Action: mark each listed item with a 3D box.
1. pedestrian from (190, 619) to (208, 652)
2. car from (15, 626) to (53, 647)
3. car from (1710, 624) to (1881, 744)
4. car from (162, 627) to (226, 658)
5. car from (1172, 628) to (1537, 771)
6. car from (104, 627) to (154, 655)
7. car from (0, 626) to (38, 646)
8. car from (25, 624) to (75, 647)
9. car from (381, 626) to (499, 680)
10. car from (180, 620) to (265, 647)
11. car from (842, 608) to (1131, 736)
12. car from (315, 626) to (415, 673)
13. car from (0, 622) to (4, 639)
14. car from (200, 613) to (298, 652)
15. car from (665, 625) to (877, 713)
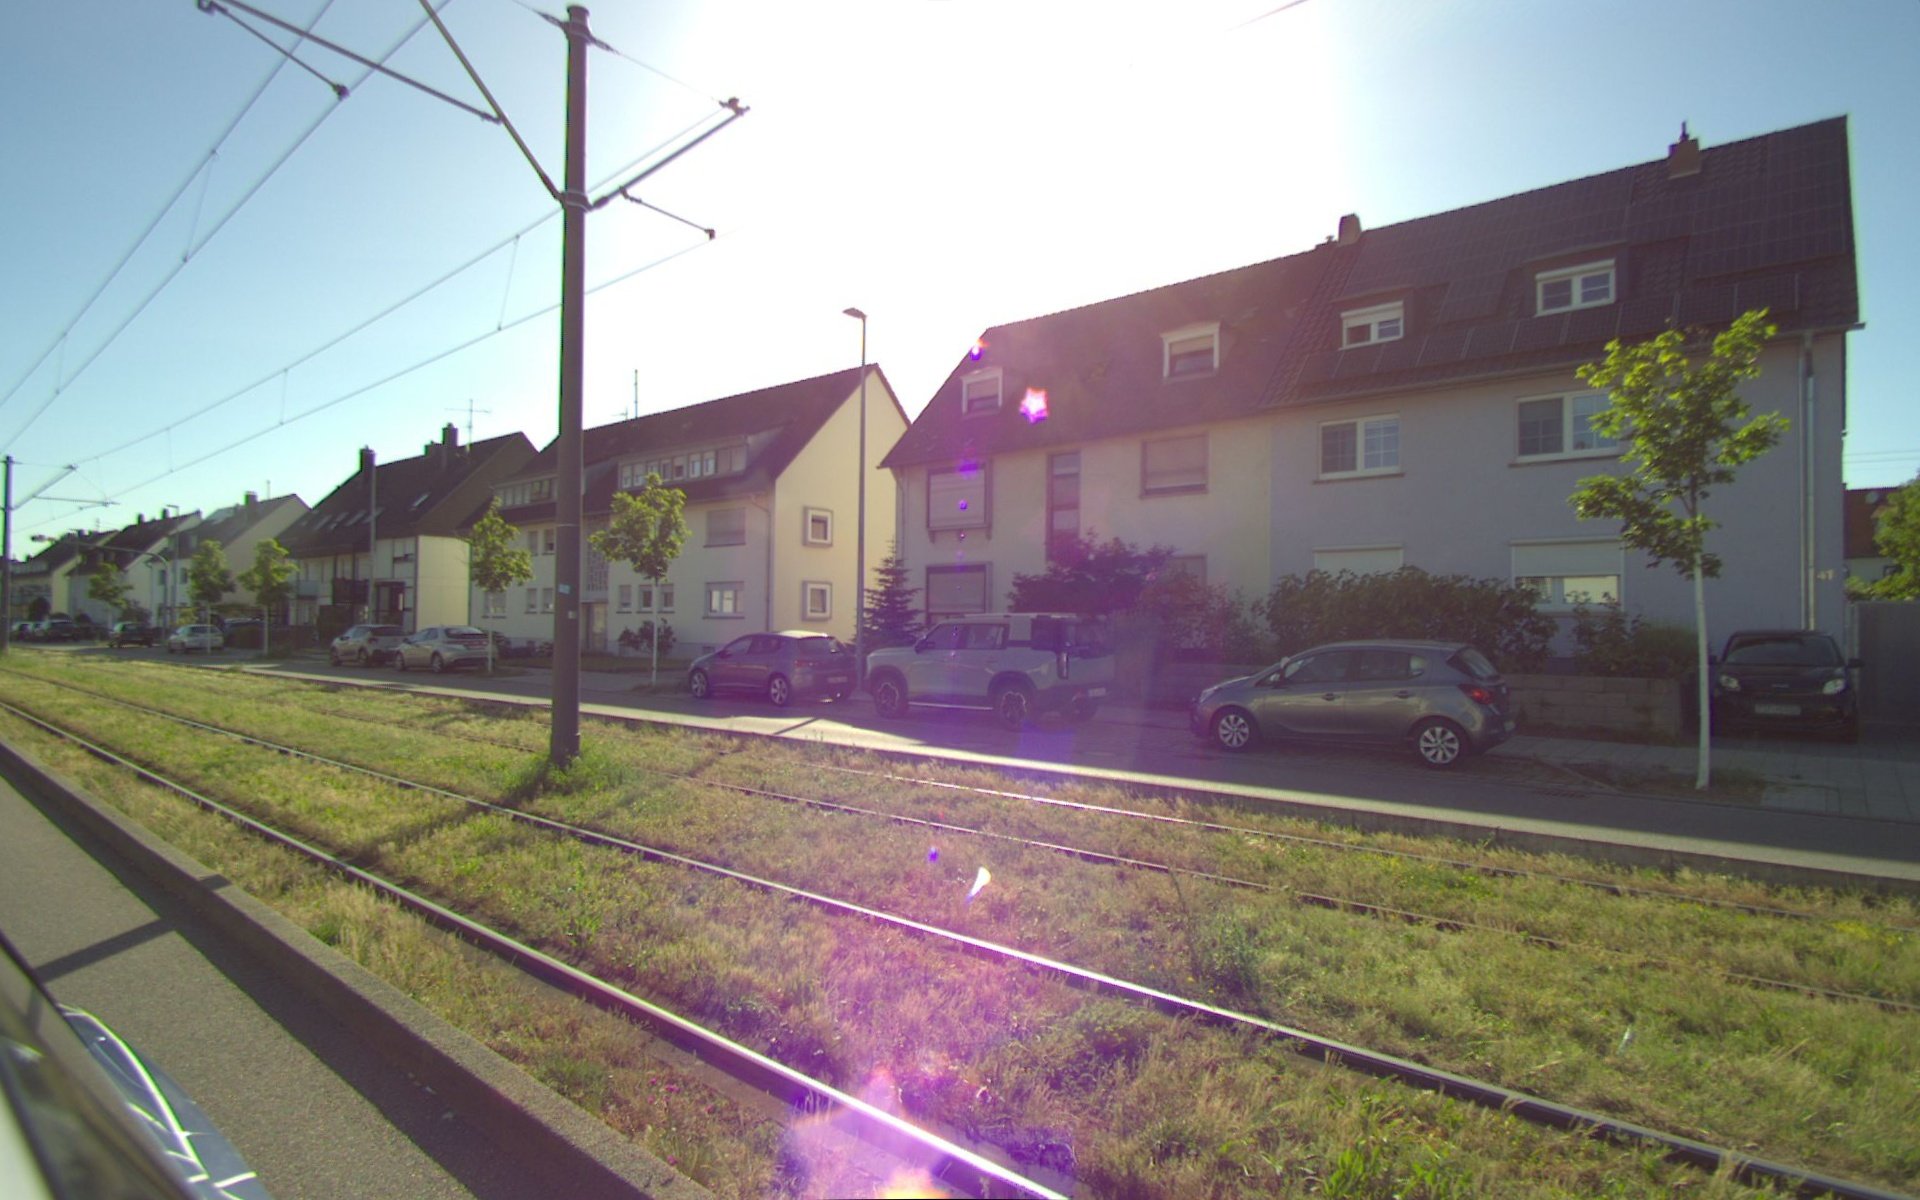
[{"bbox_3d":[-42.409,1.959,56.411,0.676,1.829,0.611,-1,-1,31],"label":"pedestrian"},{"bbox_3d":[-69.131,2.727,75.512,3.993,1.479,1.451,-2,-3,39],"label":"car"},{"bbox_3d":[12.283,1.132,15.079,1.688,1.472,3.600,-1,0,36],"label":"car"},{"bbox_3d":[-38.406,2.108,50.715,4.099,1.447,1.641,-1,-2,39],"label":"car"},{"bbox_3d":[4.938,1.139,12.965,4.045,1.502,1.660,-1,0,39],"label":"car"},{"bbox_3d":[-48.294,2.338,58.773,4.083,1.523,1.602,-1,-1,41],"label":"car"},{"bbox_3d":[-73.025,2.771,78.473,4.396,1.466,1.637,-1,-1,39],"label":"car"},{"bbox_3d":[-65.035,2.515,72.321,4.853,1.572,1.902,-1,-1,39],"label":"car"},{"bbox_3d":[-16.311,1.602,31.649,4.438,1.486,1.672,-1,-1,39],"label":"car"},{"bbox_3d":[-50.367,2.287,69.148,1.968,1.797,4.348,-2,-3,39],"label":"car"},{"bbox_3d":[0.306,1.080,16.926,4.839,1.837,1.727,-1,-1,41],"label":"car"},{"bbox_3d":[-21.001,1.709,35.656,4.310,1.484,1.672,-1,-1,39],"label":"car"},{"bbox_3d":[-84.703,2.671,88.075,4.088,1.408,1.683,-1,-1,39],"label":"car"},{"bbox_3d":[-42.084,1.879,59.948,1.786,2.096,4.415,-1,1,40],"label":"car"},{"bbox_3d":[-4.000,1.328,20.983,4.554,1.552,1.940,-1,-1,41],"label":"car"}]
